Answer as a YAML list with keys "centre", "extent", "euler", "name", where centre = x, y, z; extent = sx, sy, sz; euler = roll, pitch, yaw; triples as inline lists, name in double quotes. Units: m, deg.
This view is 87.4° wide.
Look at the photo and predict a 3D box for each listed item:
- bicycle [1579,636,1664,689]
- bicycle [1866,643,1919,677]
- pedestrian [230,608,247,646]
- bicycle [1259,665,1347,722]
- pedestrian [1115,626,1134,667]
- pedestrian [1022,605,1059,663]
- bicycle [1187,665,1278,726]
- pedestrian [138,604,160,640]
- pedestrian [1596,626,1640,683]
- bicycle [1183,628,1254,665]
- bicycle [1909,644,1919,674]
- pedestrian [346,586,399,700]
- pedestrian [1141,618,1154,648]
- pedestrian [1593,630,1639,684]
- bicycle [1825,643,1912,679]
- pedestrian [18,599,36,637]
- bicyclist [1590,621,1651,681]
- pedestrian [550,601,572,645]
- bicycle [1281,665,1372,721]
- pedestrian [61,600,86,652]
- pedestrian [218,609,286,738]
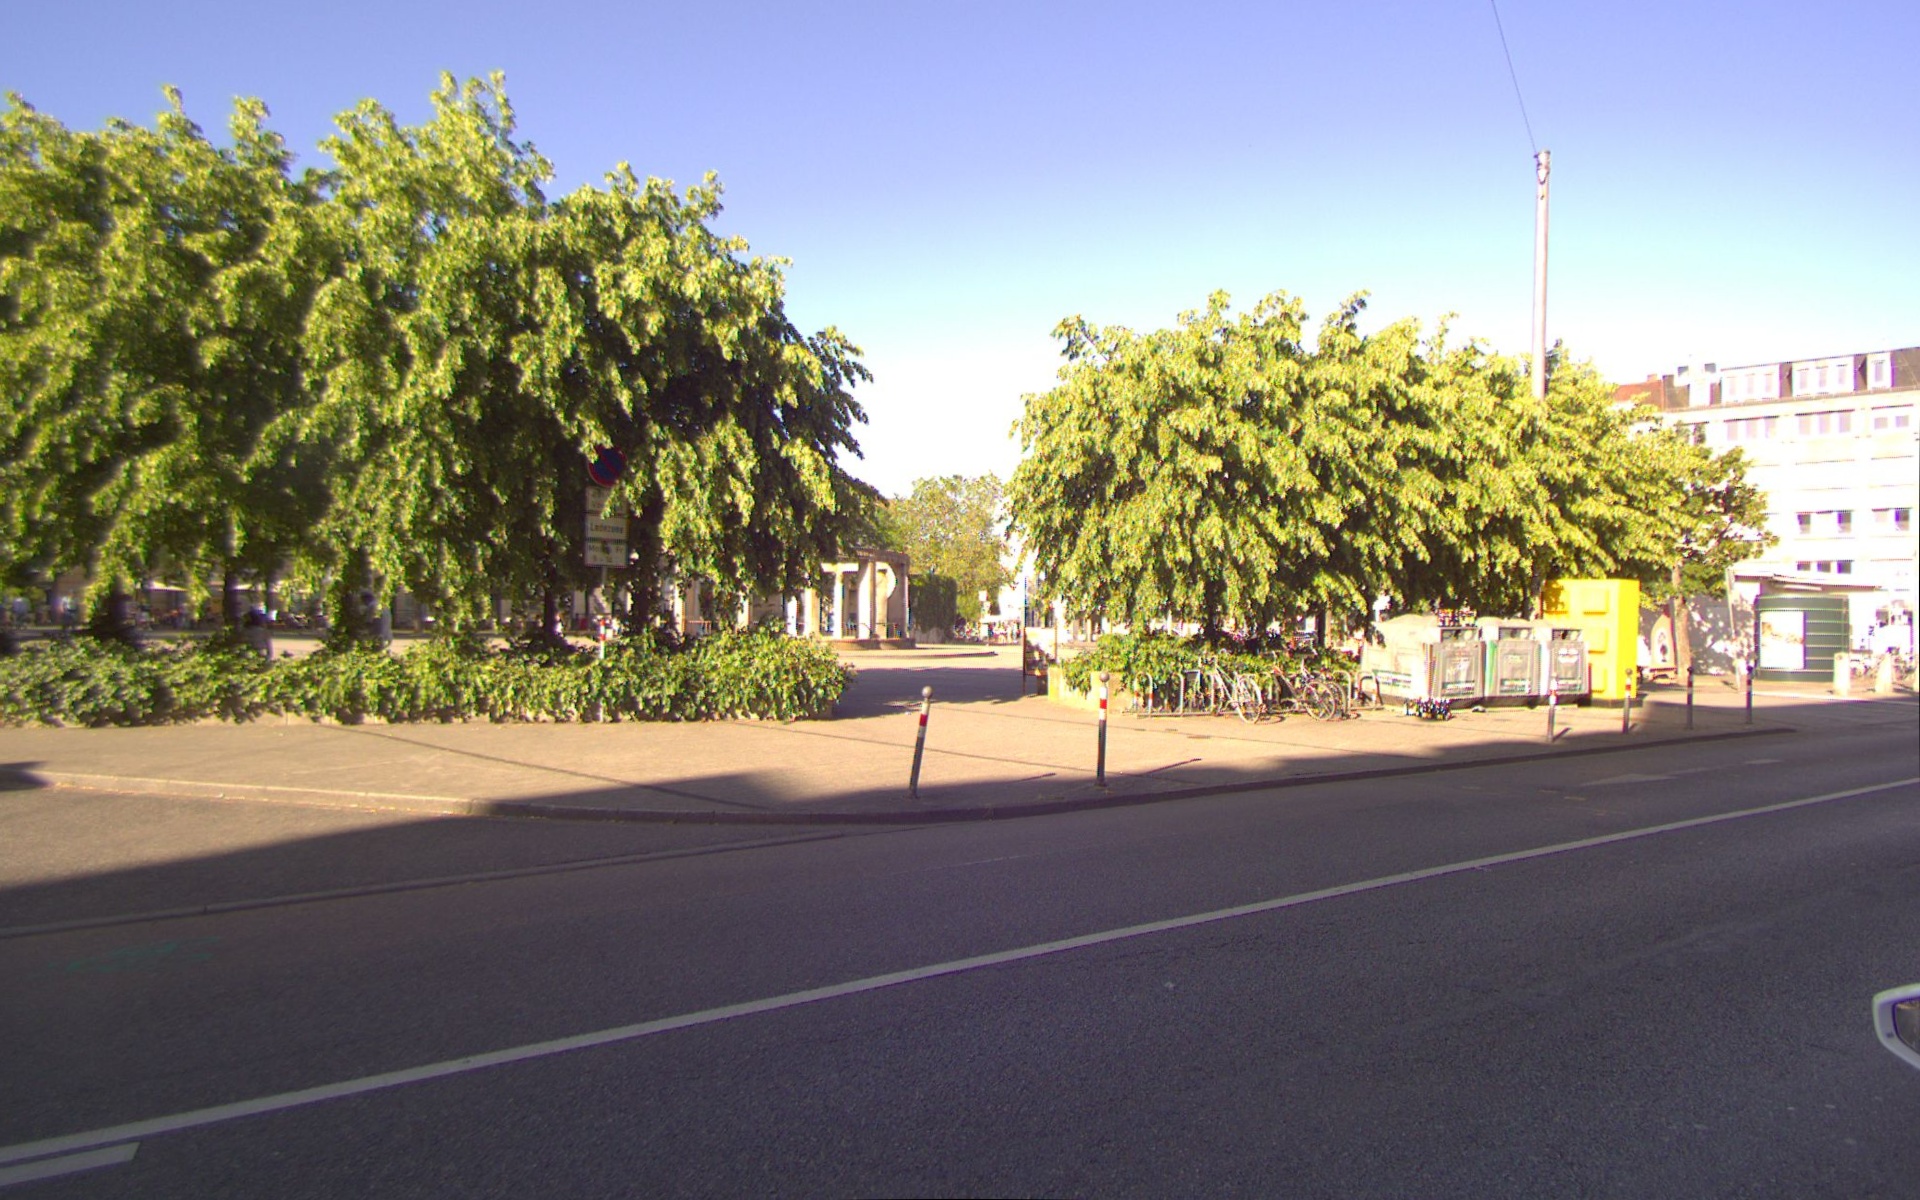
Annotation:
- centre: [16.569, 1.544, 25.221]
  extent: [0.784, 1.249, 1.770]
  euler: [1, -1, -10]
  name: "bicycle"
- centre: [33.165, 2.113, 35.128]
  extent: [0.796, 1.119, 2.072]
  euler: [1, -1, -30]
  name: "bicycle"
- centre: [-35.513, 1.320, 49.445]
  extent: [0.579, 1.816, 0.593]
  euler: [2, 0, -44]
  name: "pedestrian"
- centre: [5.480, 1.478, 16.131]
  extent: [0.435, 0.779, 1.469]
  euler: [2, 0, -25]
  name: "bicycle"
- centre: [8.307, 2.360, 50.777]
  extent: [0.670, 2.040, 0.579]
  euler: [2, 0, -23]
  name: "pedestrian"
- centre: [2.522, 1.059, 31.438]
  extent: [0.918, 1.775, 0.728]
  euler: [2, 0, -15]
  name: "pedestrian"
- centre: [4.179, 1.449, 15.518]
  extent: [0.467, 0.779, 1.653]
  euler: [2, 0, -20]
  name: "bicycle"
- centre: [-40.729, 1.104, 50.451]
  extent: [0.571, 1.816, 0.601]
  euler: [1, 0, 19]
  name: "pedestrian"
- centre: [20.712, 1.705, 31.639]
  extent: [0.734, 1.748, 0.898]
  euler: [1, 0, -26]
  name: "pedestrian"
- centre: [7.481, 1.352, 29.067]
  extent: [2.026, 1.030, 0.502]
  euler: [2, 0, -17]
  name: "bicycle"
- centre: [37.128, 2.247, 37.707]
  extent: [0.796, 1.119, 2.072]
  euler: [1, -1, -30]
  name: "bicycle"
- centre: [-9.921, 0.708, 16.963]
  extent: [0.574, 1.881, 0.598]
  euler: [1, 0, 41]
  name: "pedestrian"
- centre: [11.410, 2.026, 61.126]
  extent: [0.591, 1.816, 0.581]
  euler: [1, 0, -12]
  name: "pedestrian"
- centre: [20.615, 1.771, 31.575]
  extent: [0.727, 1.658, 0.983]
  euler: [1, 0, -26]
  name: "pedestrian"
- centre: [30.859, 2.065, 34.154]
  extent: [0.796, 1.119, 2.072]
  euler: [1, -1, -30]
  name: "bicycle"
- centre: [-44.781, 0.872, 48.196]
  extent: [0.597, 1.816, 0.575]
  euler: [2, 0, -44]
  name: "pedestrian"
- centre: [16.571, 1.270, 25.218]
  extent: [0.784, 1.454, 1.006]
  euler: [1, -1, -10]
  name: "bicyclist"
- centre: [-16.011, 0.933, 40.305]
  extent: [0.579, 1.744, 0.593]
  euler: [2, 0, -44]
  name: "pedestrian"
- centre: [5.959, 1.502, 16.417]
  extent: [0.468, 0.779, 1.468]
  euler: [2, 0, -27]
  name: "bicycle"
- centre: [-31.095, 0.914, 35.236]
  extent: [0.597, 1.816, 0.576]
  euler: [2, 0, -40]
  name: "pedestrian"
- centre: [-10.730, 1.096, 15.235]
  extent: [0.722, 1.881, 0.578]
  euler: [2, 0, -28]
  name: "pedestrian"
